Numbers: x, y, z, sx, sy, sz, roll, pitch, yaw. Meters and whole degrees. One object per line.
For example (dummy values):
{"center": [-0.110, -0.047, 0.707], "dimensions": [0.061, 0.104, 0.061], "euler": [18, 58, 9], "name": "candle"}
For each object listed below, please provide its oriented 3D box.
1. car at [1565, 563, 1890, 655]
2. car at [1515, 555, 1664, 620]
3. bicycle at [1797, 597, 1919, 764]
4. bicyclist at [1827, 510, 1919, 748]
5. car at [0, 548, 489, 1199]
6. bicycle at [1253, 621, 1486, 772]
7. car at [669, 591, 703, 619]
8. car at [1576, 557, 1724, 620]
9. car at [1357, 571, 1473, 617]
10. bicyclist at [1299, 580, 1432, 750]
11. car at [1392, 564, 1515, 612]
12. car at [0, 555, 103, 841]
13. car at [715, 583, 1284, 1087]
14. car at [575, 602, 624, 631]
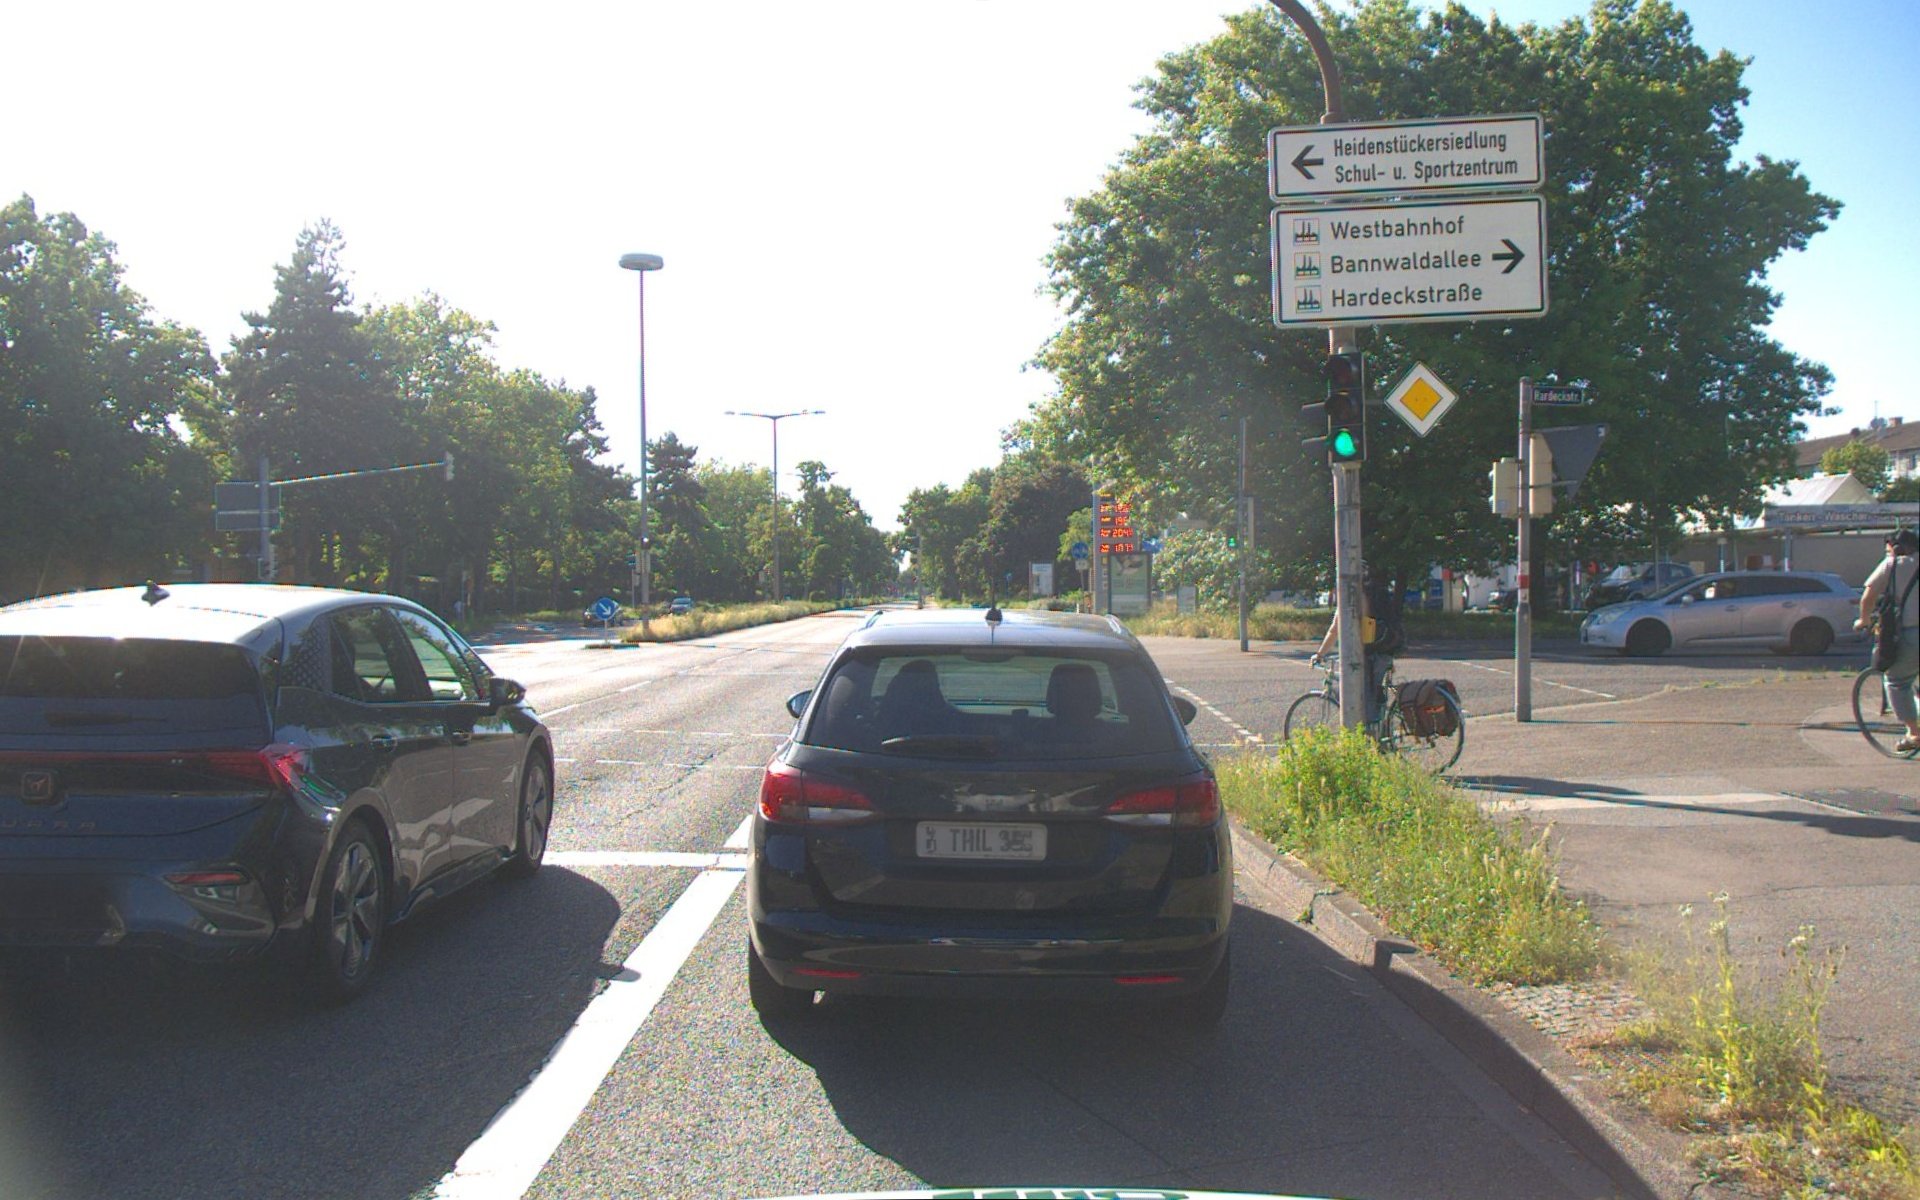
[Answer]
{"center": [13.550, 0.159, 29.500], "dimensions": [4.897, 1.512, 2.002], "euler": [-1, 0, 11], "name": "car"}
{"center": [18.951, -0.383, 49.796], "dimensions": [3.935, 1.780, 1.985], "euler": [-2, 1, -24], "name": "car"}
{"center": [6.730, 0.547, 11.663], "dimensions": [0.567, 1.117, 1.987], "euler": [-3, -1, -1], "name": "bicycle"}
{"center": [6.714, 0.193, 11.671], "dimensions": [0.567, 1.609, 0.997], "euler": [-3, -1, -1], "name": "bicyclist"}
{"center": [-3.001, 0.695, 5.597], "dimensions": [1.650, 1.608, 4.206], "euler": [0, 0, -1], "name": "car"}
{"center": [3.230, 0.766, 13.170], "dimensions": [0.533, 1.117, 1.748], "euler": [-2, -2, -44], "name": "bicycle"}
{"center": [-20.945, 0.335, 126.427], "dimensions": [1.953, 2.049, 3.999], "euler": [-2, 0, -1], "name": "car"}
{"center": [20.009, -0.332, 47.991], "dimensions": [3.934, 1.709, 1.732], "euler": [-1, 0, -24], "name": "car"}
{"center": [16.459, -0.212, 59.856], "dimensions": [3.837, 1.544, 1.732], "euler": [-1, 0, -24], "name": "car"}
{"center": [3.222, 0.515, 13.173], "dimensions": [0.533, 1.299, 0.816], "euler": [-1, -2, -44], "name": "bicyclist"}
{"center": [16.934, -0.413, 56.781], "dimensions": [3.837, 1.544, 1.732], "euler": [-1, 0, -24], "name": "car"}
{"center": [-6.638, 0.610, 9.103], "dimensions": [1.768, 1.719, 3.999], "euler": [-1, 0, -1], "name": "car"}
{"center": [0.096, 0.727, 7.128], "dimensions": [1.721, 1.521, 4.206], "euler": [0, 0, -1], "name": "car"}
{"center": [-20.579, 0.908, 94.478], "dimensions": [1.953, 1.556, 3.999], "euler": [-2, 0, -1], "name": "car"}
